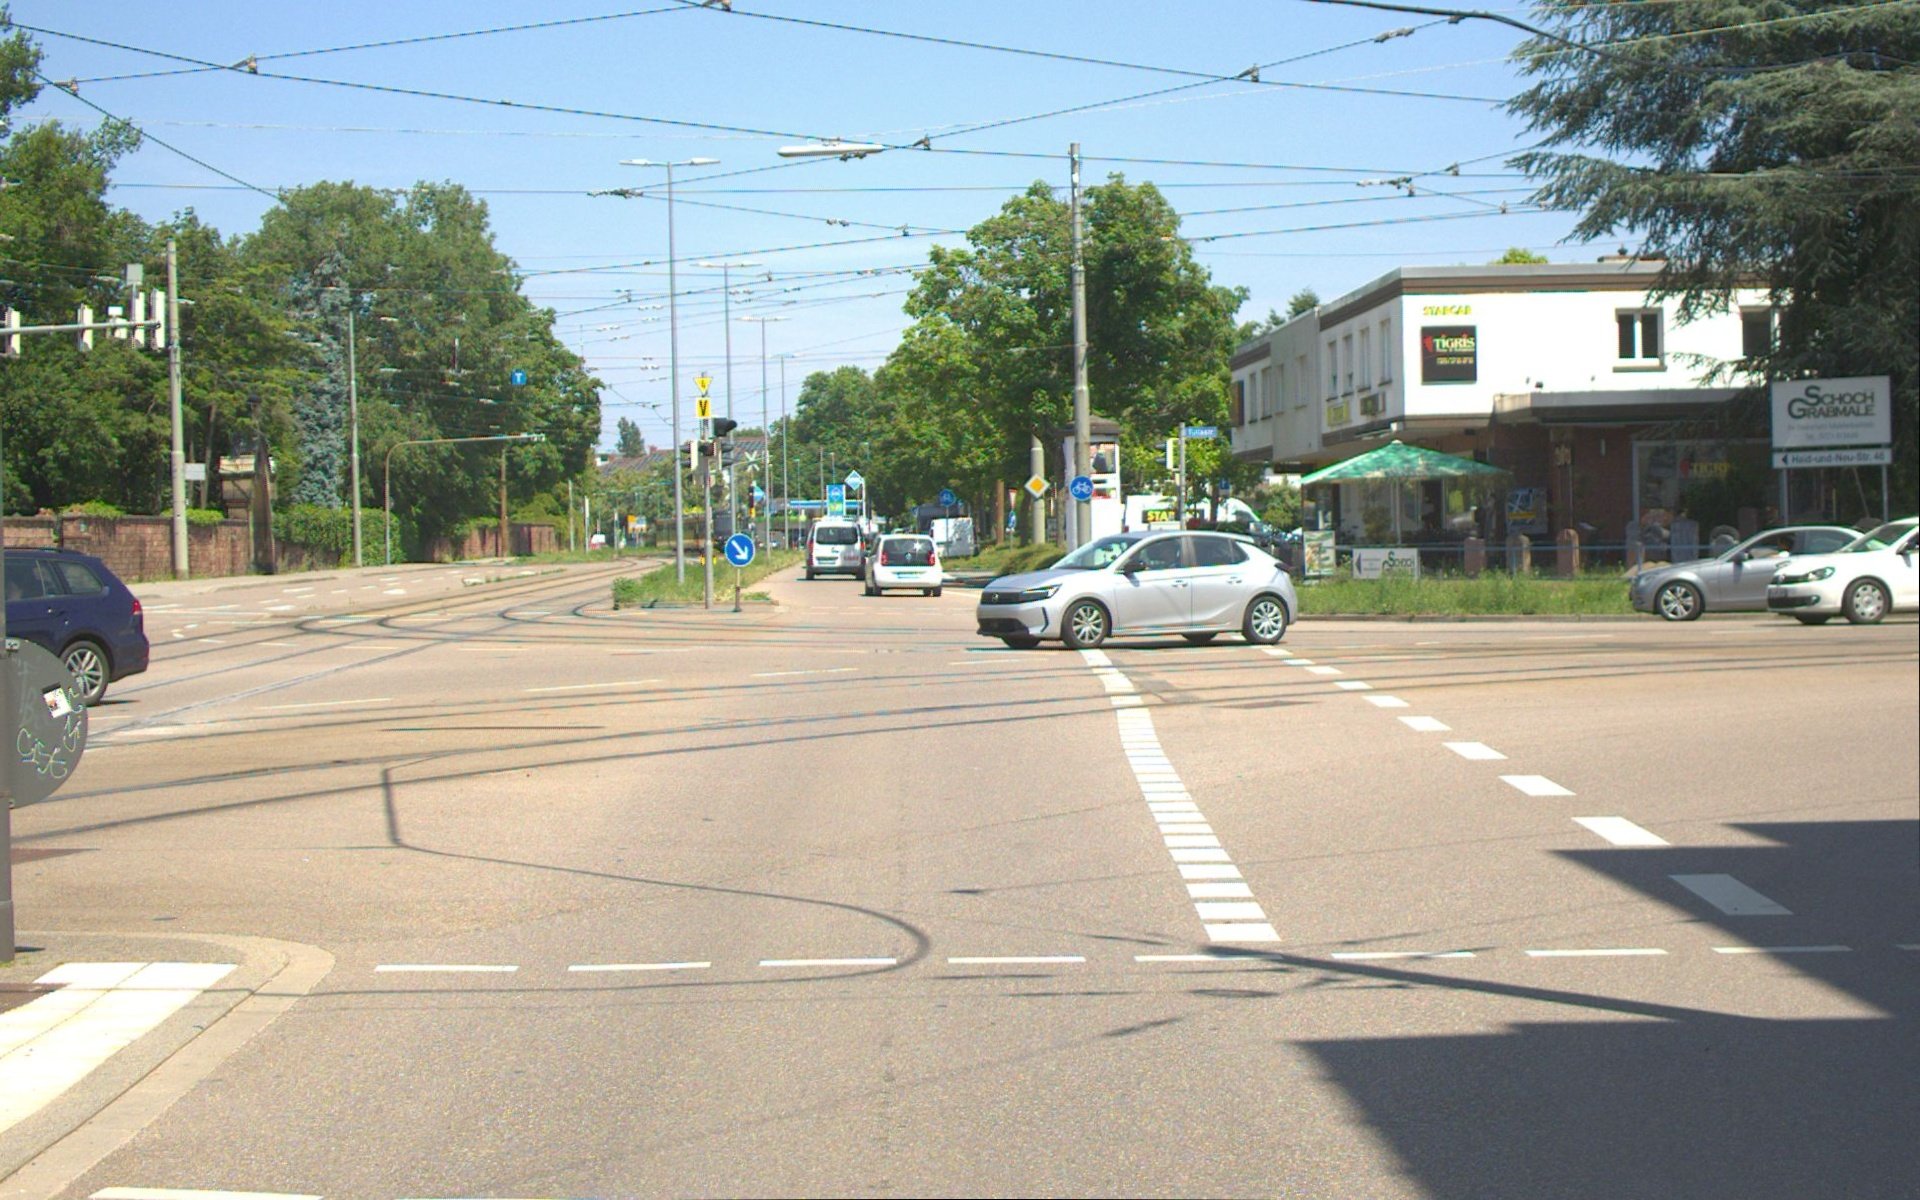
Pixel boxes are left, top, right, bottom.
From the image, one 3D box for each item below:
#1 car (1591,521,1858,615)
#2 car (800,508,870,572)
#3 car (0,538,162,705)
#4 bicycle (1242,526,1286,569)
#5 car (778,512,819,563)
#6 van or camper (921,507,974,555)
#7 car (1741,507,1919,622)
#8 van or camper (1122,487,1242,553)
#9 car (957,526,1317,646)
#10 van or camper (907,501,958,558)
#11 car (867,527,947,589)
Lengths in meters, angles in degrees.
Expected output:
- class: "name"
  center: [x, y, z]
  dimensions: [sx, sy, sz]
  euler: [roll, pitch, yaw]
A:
- class: "car"
  center: [11.455, -0.490, 51.624]
  dimensions: [3.831, 1.346, 1.641]
  euler: [-1, 1, 12]
- class: "car"
  center: [-3.772, -1.811, 103.339]
  dimensions: [1.993, 1.853, 4.001]
  euler: [-1, 1, -3]
- class: "car"
  center: [-9.379, 0.207, 30.340]
  dimensions: [1.860, 1.437, 4.470]
  euler: [0, 1, 34]
- class: "bicycle"
  center: [7.478, -1.305, 84.514]
  dimensions: [1.034, 1.011, 2.636]
  euler: [-1, 1, 6]
- class: "car"
  center: [-6.419, -2.489, 136.485]
  dimensions: [1.419, 2.007, 3.631]
  euler: [-1, 1, -6]
- class: "van or camper"
  center: [-0.492, -2.638, 130.384]
  dimensions: [1.922, 1.766, 4.000]
  euler: [-1, 1, -1]
- class: "car"
  center: [13.001, -0.511, 46.254]
  dimensions: [4.483, 1.484, 1.824]
  euler: [-1, 1, -9]
- class: "van or camper"
  center: [9.255, -3.344, 143.401]
  dimensions: [4.756, 2.662, 2.136]
  euler: [-1, 1, -3]
- class: "car"
  center: [2.174, -0.198, 42.065]
  dimensions: [4.038, 1.358, 1.824]
  euler: [-1, 1, -29]
- class: "van or camper"
  center: [-1.250, -3.143, 152.849]
  dimensions: [1.993, 2.456, 4.001]
  euler: [-1, 1, -4]
- class: "car"
  center: [-1.281, -1.019, 81.843]
  dimensions: [1.670, 1.430, 3.475]
  euler: [-1, 1, -4]
